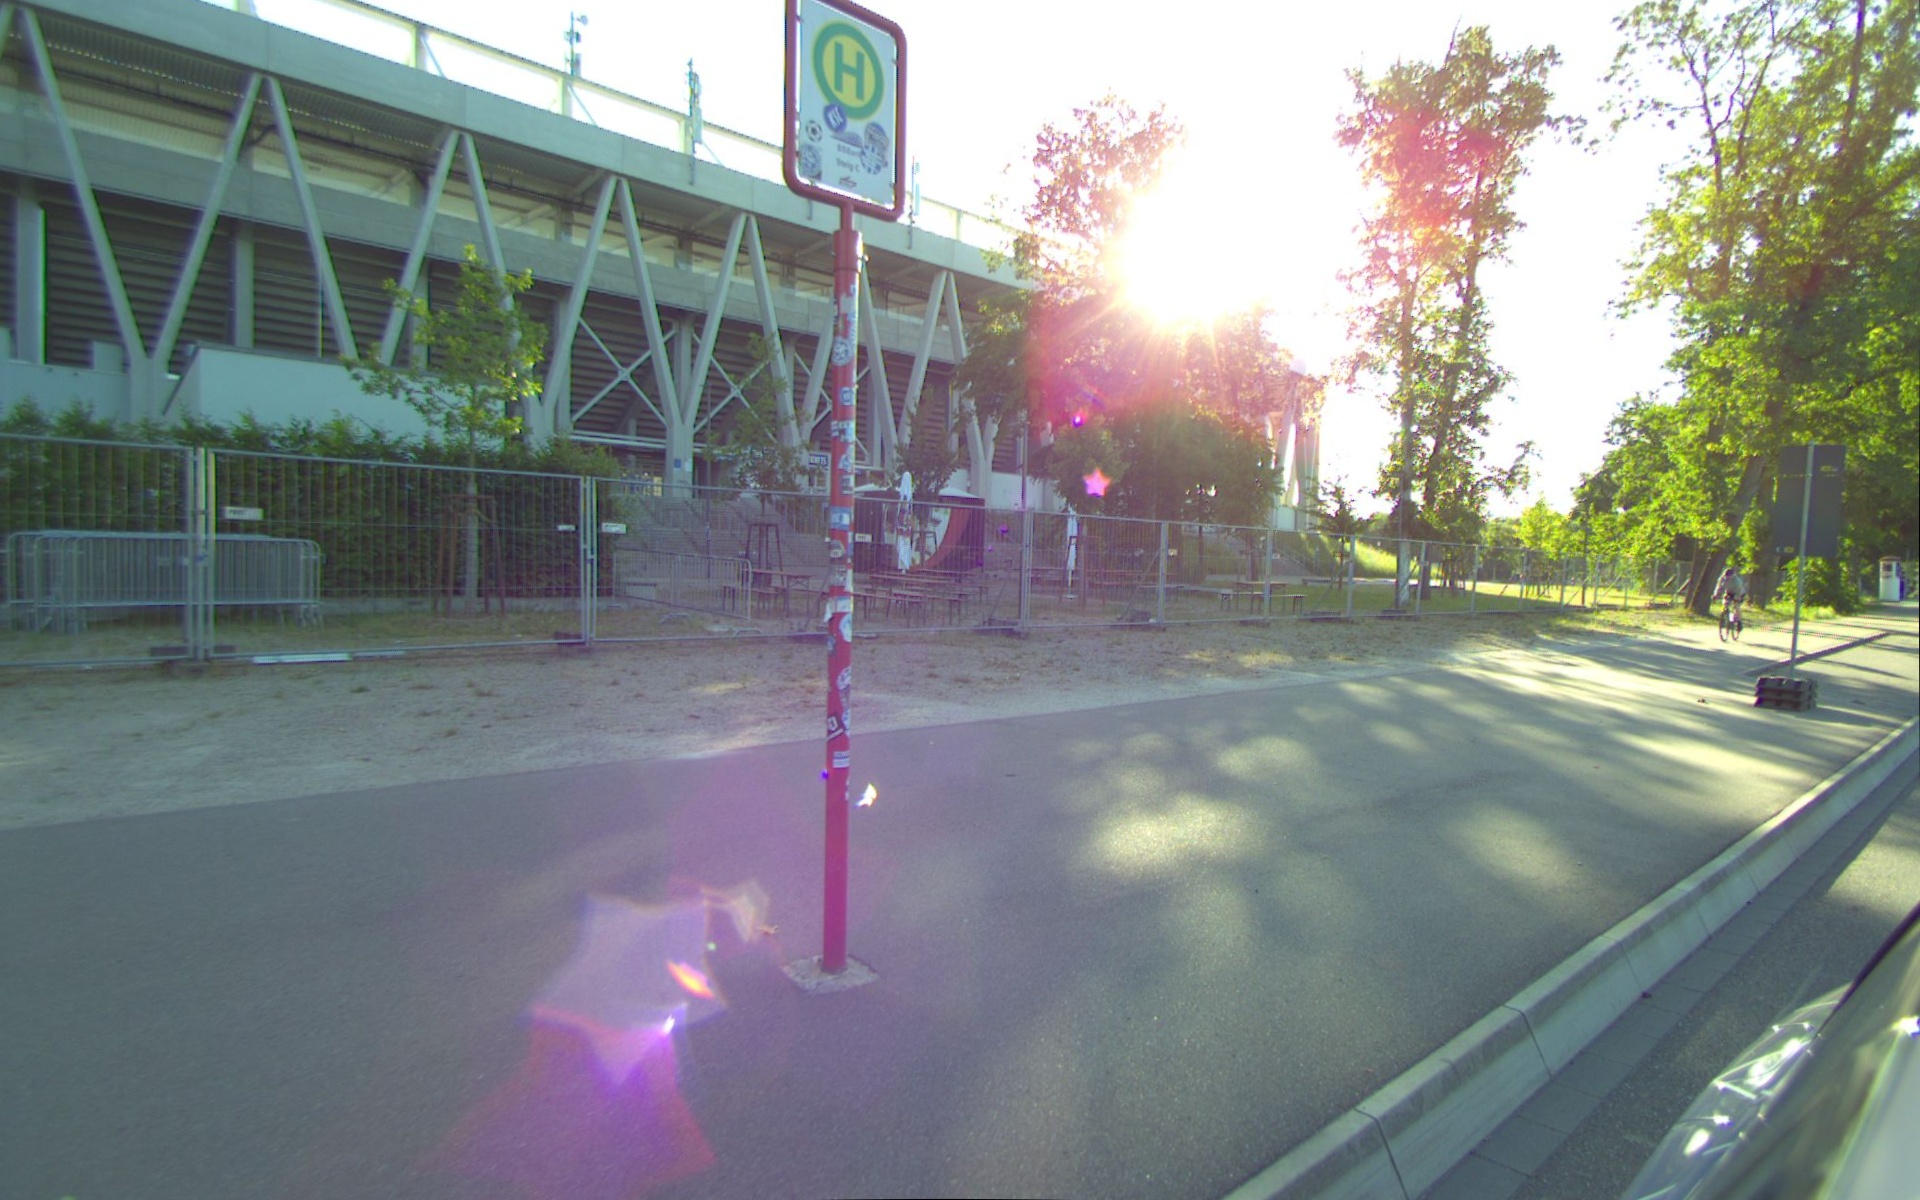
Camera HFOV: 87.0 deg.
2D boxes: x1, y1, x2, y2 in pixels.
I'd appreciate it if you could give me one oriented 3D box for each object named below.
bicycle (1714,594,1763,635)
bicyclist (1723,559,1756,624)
[{"bbox_3d":[17.611,0.310,22.884,1.876,0.869,0.481,-1,3,-41],"label":"bicycle"},{"bbox_3d":[17.602,-0.198,22.857,0.565,1.438,0.451,-1,2,-40],"label":"bicyclist"}]
